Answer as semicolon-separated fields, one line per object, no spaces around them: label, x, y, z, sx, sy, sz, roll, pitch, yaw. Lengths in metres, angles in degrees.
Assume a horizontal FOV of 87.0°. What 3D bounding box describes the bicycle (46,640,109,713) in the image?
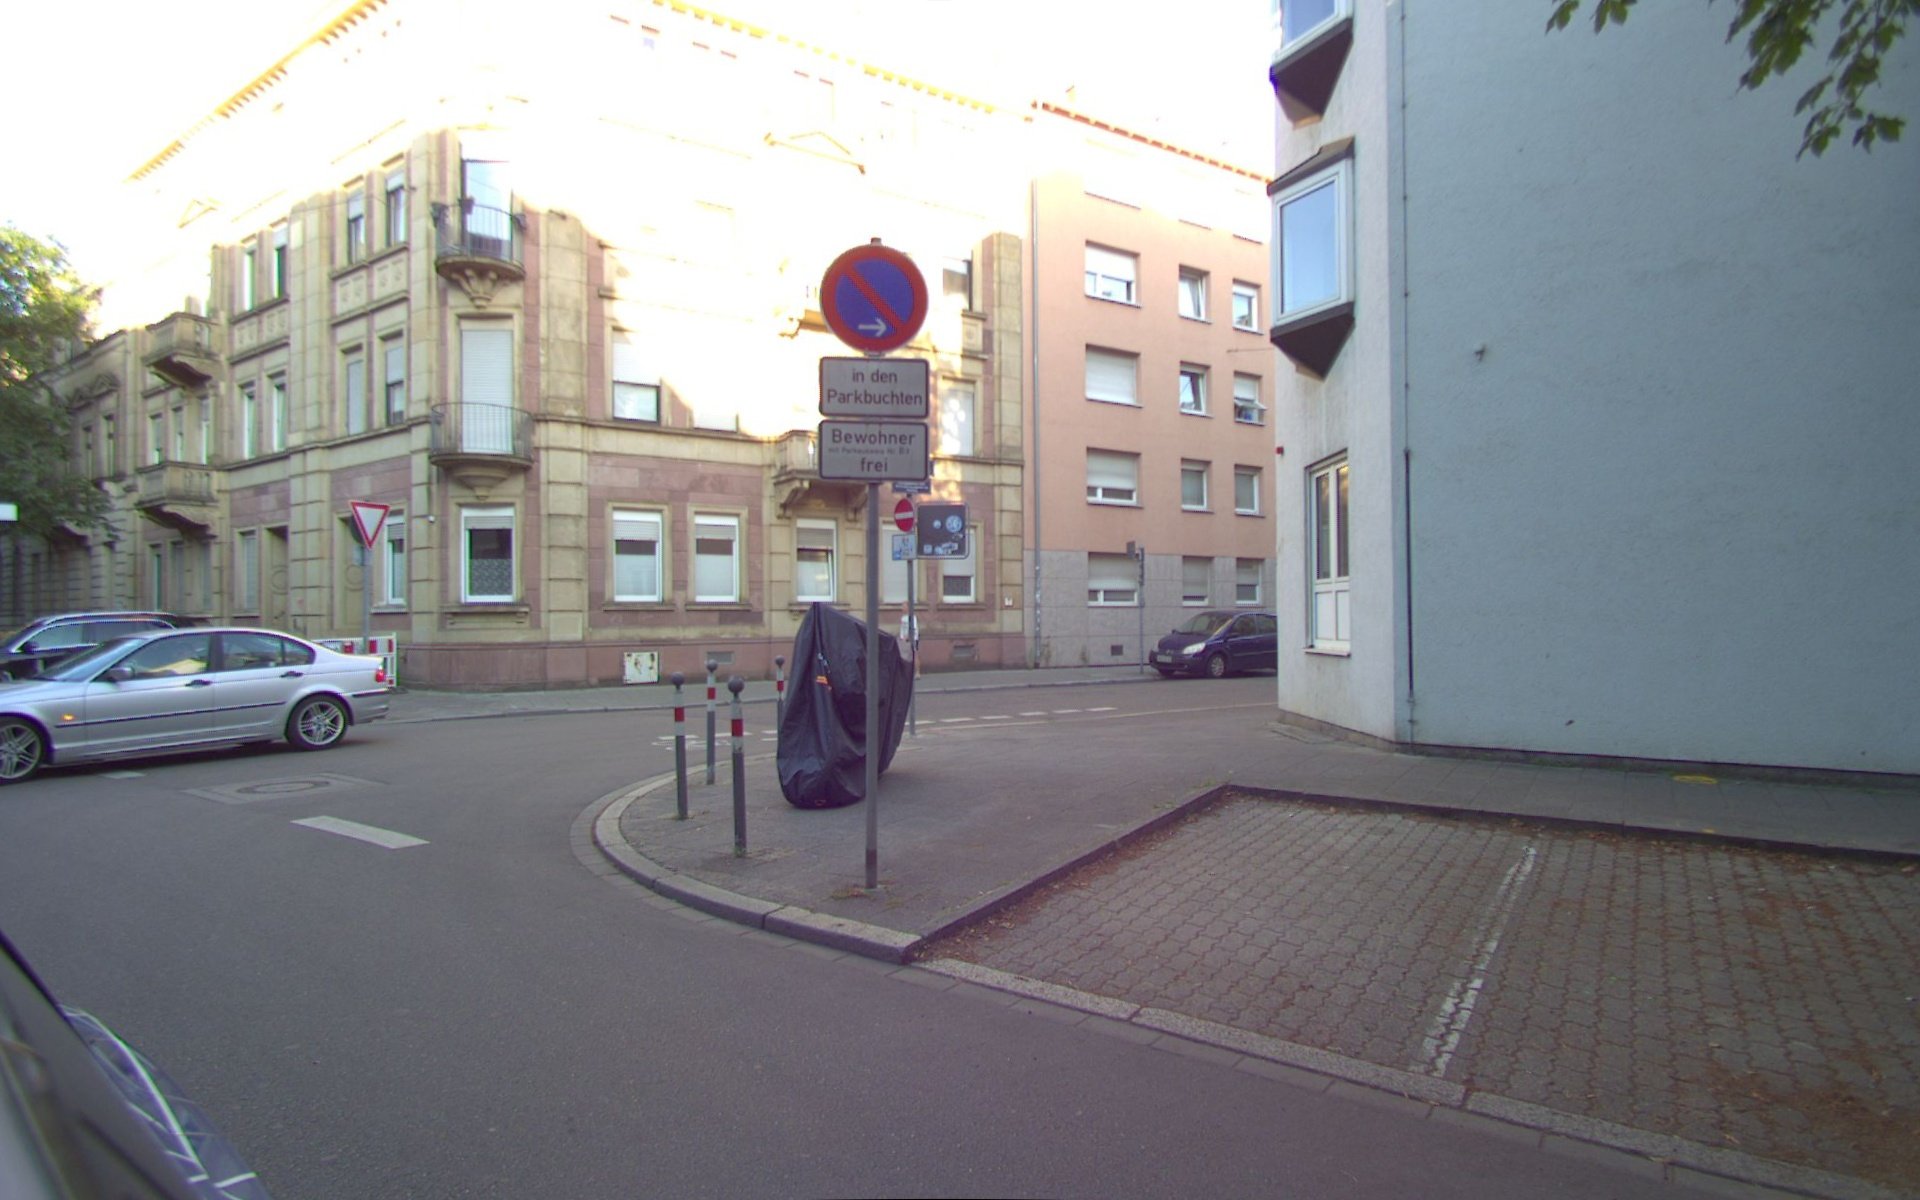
bicycle;-14.590;1.237;16.718;1.866;1.097;0.360;0;1;36

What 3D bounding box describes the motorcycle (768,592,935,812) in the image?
motorcycle;-0.822;0.757;8.365;0.663;1.567;2.152;-1;-1;14

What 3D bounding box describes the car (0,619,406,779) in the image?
car;-8.465;0.957;10.604;1.677;1.414;4.422;-3;-3;32

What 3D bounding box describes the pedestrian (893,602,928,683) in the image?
pedestrian;-1.097;0.927;22.221;0.559;1.757;0.552;1;-2;-34

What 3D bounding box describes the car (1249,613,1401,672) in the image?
car;10.082;1.131;27.867;4.211;1.525;1.699;1;-2;-33

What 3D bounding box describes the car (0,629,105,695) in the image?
car;-22.853;1.454;23.443;1.773;1.499;4.392;-2;-2;36

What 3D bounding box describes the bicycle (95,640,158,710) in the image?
bicycle;-14.280;1.254;17.320;1.866;1.097;0.360;0;1;36

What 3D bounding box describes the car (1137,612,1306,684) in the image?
car;6.425;1.126;24.802;3.985;1.637;1.700;0;-2;-32

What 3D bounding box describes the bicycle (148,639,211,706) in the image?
bicycle;-13.830;1.257;17.909;1.866;1.097;0.360;0;1;36

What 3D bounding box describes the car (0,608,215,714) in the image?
car;-16.835;1.082;18.766;1.773;1.751;4.536;0;1;36
